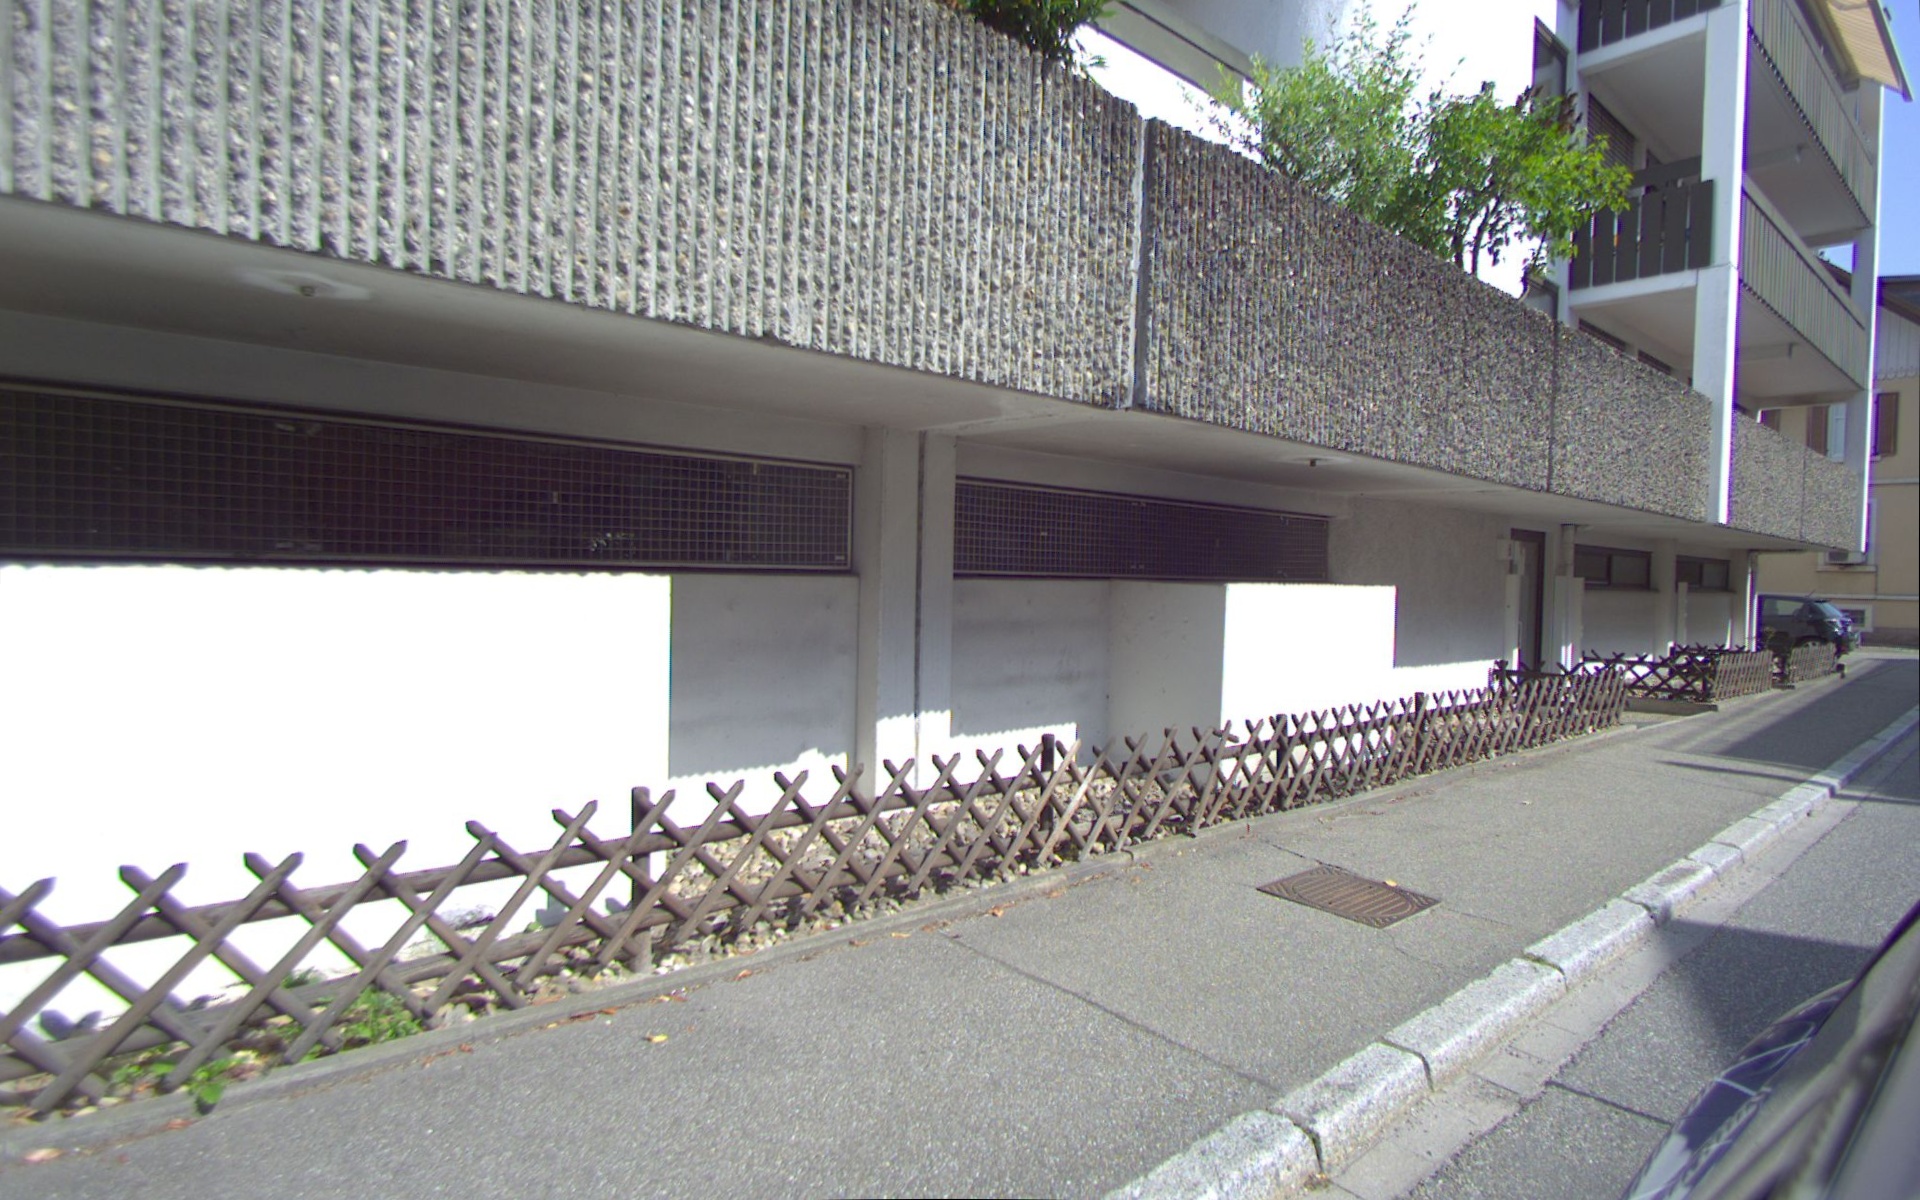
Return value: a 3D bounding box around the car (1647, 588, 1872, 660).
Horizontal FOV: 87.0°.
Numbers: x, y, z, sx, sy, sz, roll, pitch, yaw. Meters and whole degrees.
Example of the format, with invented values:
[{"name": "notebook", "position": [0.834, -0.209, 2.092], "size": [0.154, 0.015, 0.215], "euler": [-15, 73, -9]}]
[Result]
[{"name": "car", "position": [18.141, 0.500, 23.073], "size": [1.671, 1.498, 3.831], "euler": [1, 0, -43]}]
